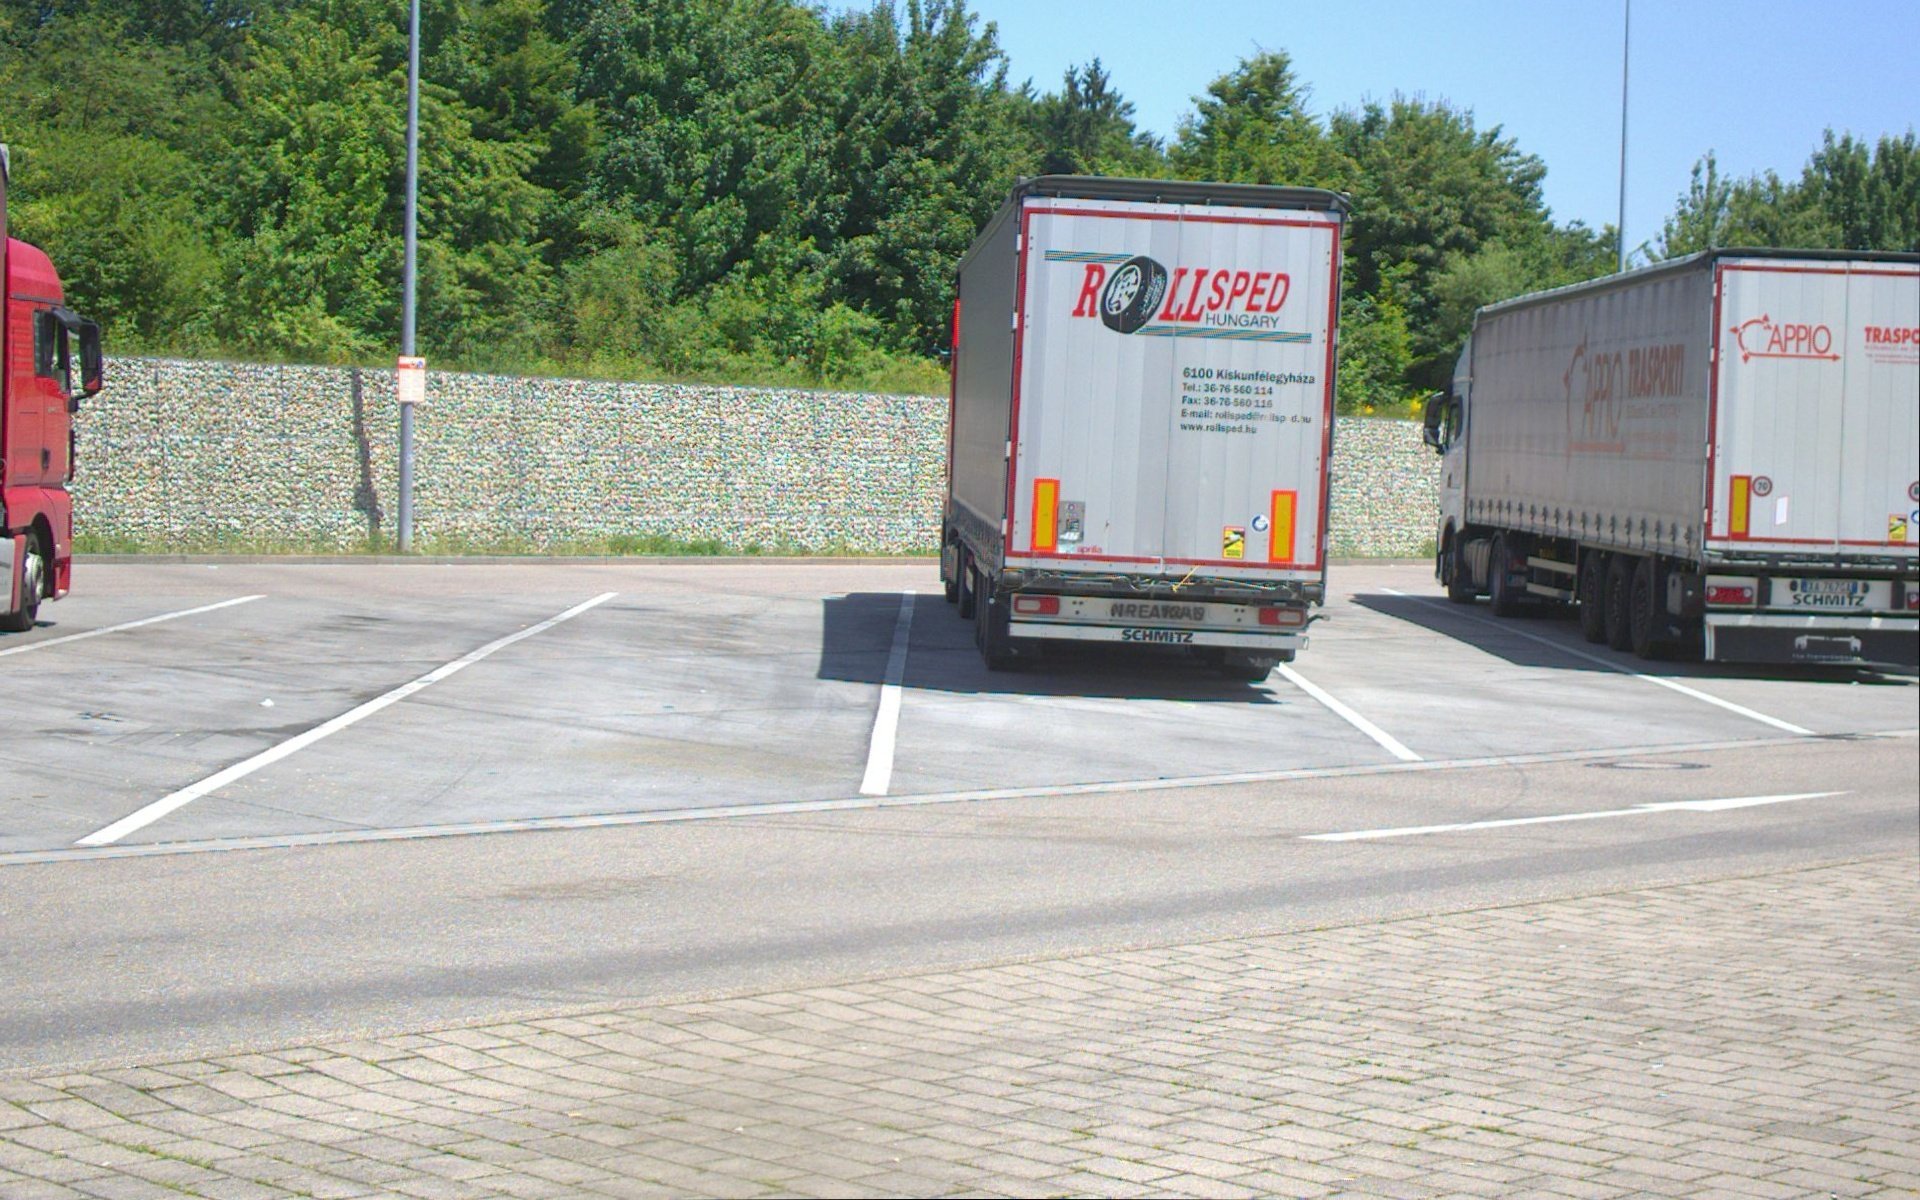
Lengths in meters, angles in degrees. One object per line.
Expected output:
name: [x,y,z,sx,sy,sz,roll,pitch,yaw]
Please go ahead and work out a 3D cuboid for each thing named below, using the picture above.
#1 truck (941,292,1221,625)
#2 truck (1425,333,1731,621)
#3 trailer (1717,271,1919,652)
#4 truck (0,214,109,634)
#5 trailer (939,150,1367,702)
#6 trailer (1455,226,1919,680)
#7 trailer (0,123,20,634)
truck: [1.283,-1.645,39.814,2.852,3.472,5.483,2,2,-1]
truck: [8.055,-1.648,45.504,2.852,3.472,5.483,2,2,-1]
trailer: [11.786,-1.554,39.444,2.838,4.118,13.724,2,3,-1]
truck: [-9.244,-1.510,28.743,2.852,3.416,5.483,2,2,-1]
trailer: [1.432,-1.636,33.201,2.906,4.118,13.725,2,3,-1]
trailer: [8.149,-1.649,38.691,2.838,4.118,13.724,2,3,-1]
trailer: [-9.153,-1.492,21.304,2.906,4.118,13.725,2,3,-1]
